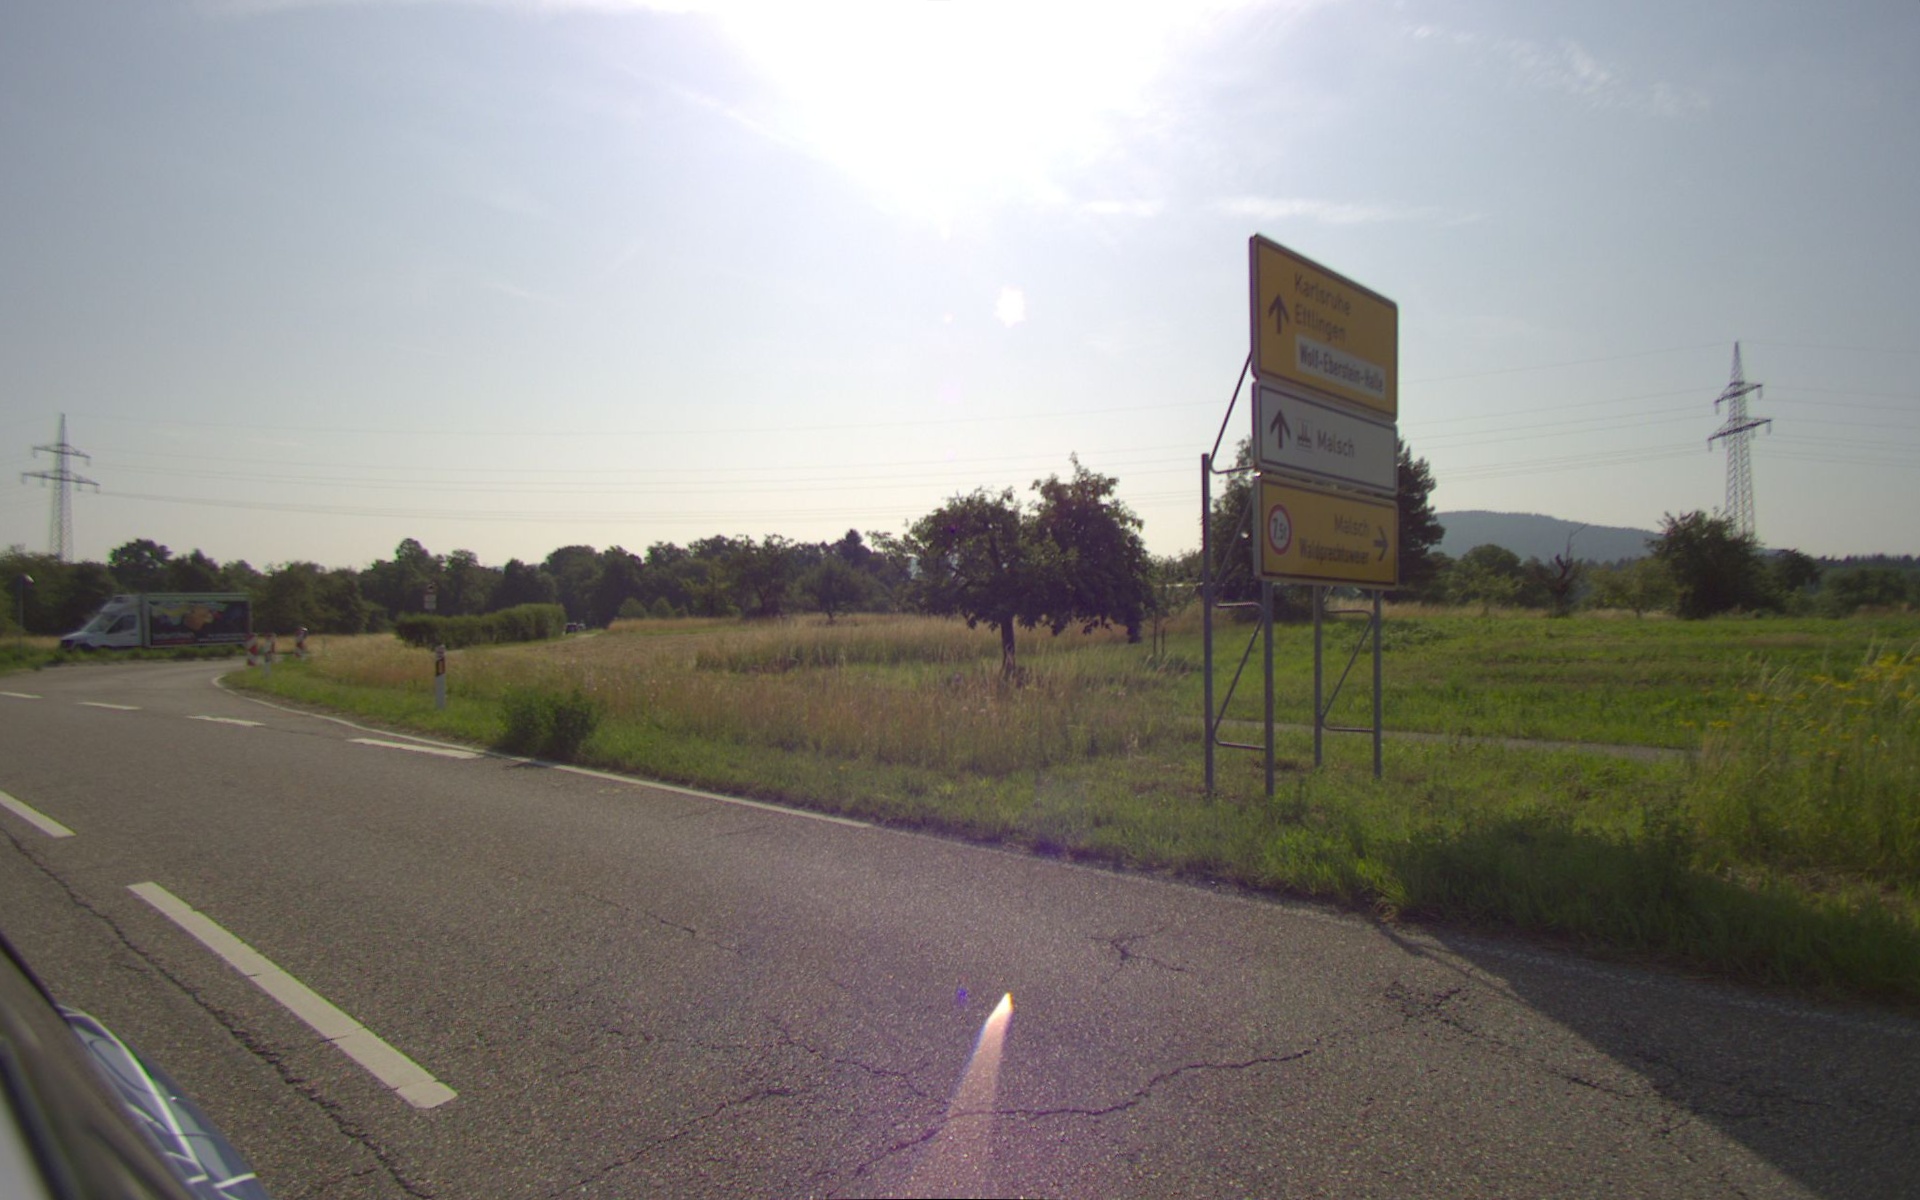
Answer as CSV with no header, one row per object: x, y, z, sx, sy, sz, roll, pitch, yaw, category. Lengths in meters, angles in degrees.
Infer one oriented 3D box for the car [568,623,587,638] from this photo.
-43.870,3.469,116.122,1.787,1.564,4.012,-1,0,-16,car

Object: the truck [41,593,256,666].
-36.609,1.279,46.028,2.568,3.068,7.307,-2,-1,23,truck
